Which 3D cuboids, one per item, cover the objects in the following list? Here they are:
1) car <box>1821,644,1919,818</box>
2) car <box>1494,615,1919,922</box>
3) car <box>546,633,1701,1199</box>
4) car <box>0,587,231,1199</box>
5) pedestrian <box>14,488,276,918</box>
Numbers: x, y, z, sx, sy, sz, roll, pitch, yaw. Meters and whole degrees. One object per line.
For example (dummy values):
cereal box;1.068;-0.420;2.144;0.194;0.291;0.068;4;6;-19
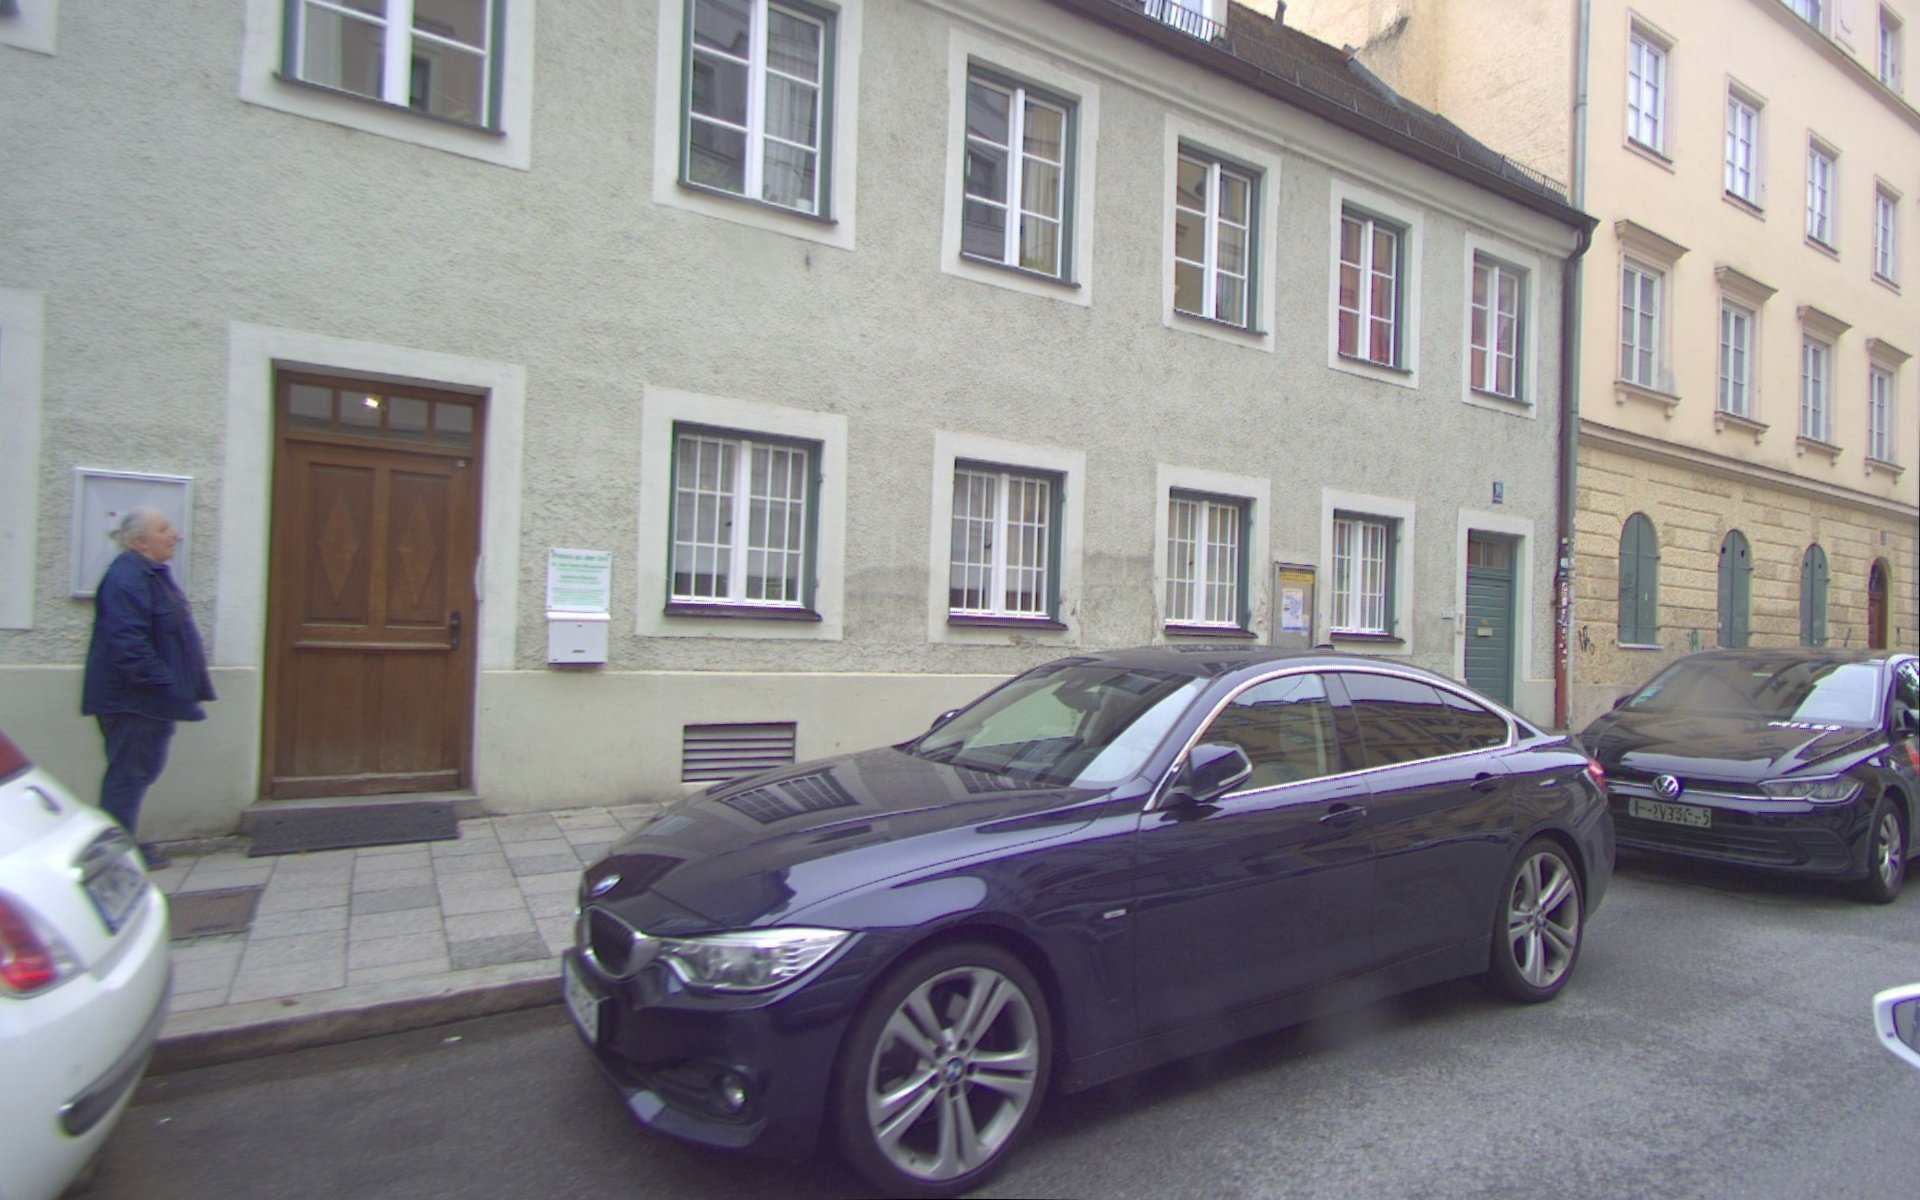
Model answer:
car;9.971;1.168;9.472;4.089;1.460;1.805;2;-2;-34
car;5.689;0.934;6.930;4.156;1.516;1.744;2;-1;-33
car;0.926;0.852;4.110;4.632;1.357;1.789;2;-1;-31
car;-3.500;0.676;1.574;3.675;1.494;1.744;2;0;-33
pedestrian;-4.039;0.482;5.070;0.818;1.922;0.818;3;-2;-31
